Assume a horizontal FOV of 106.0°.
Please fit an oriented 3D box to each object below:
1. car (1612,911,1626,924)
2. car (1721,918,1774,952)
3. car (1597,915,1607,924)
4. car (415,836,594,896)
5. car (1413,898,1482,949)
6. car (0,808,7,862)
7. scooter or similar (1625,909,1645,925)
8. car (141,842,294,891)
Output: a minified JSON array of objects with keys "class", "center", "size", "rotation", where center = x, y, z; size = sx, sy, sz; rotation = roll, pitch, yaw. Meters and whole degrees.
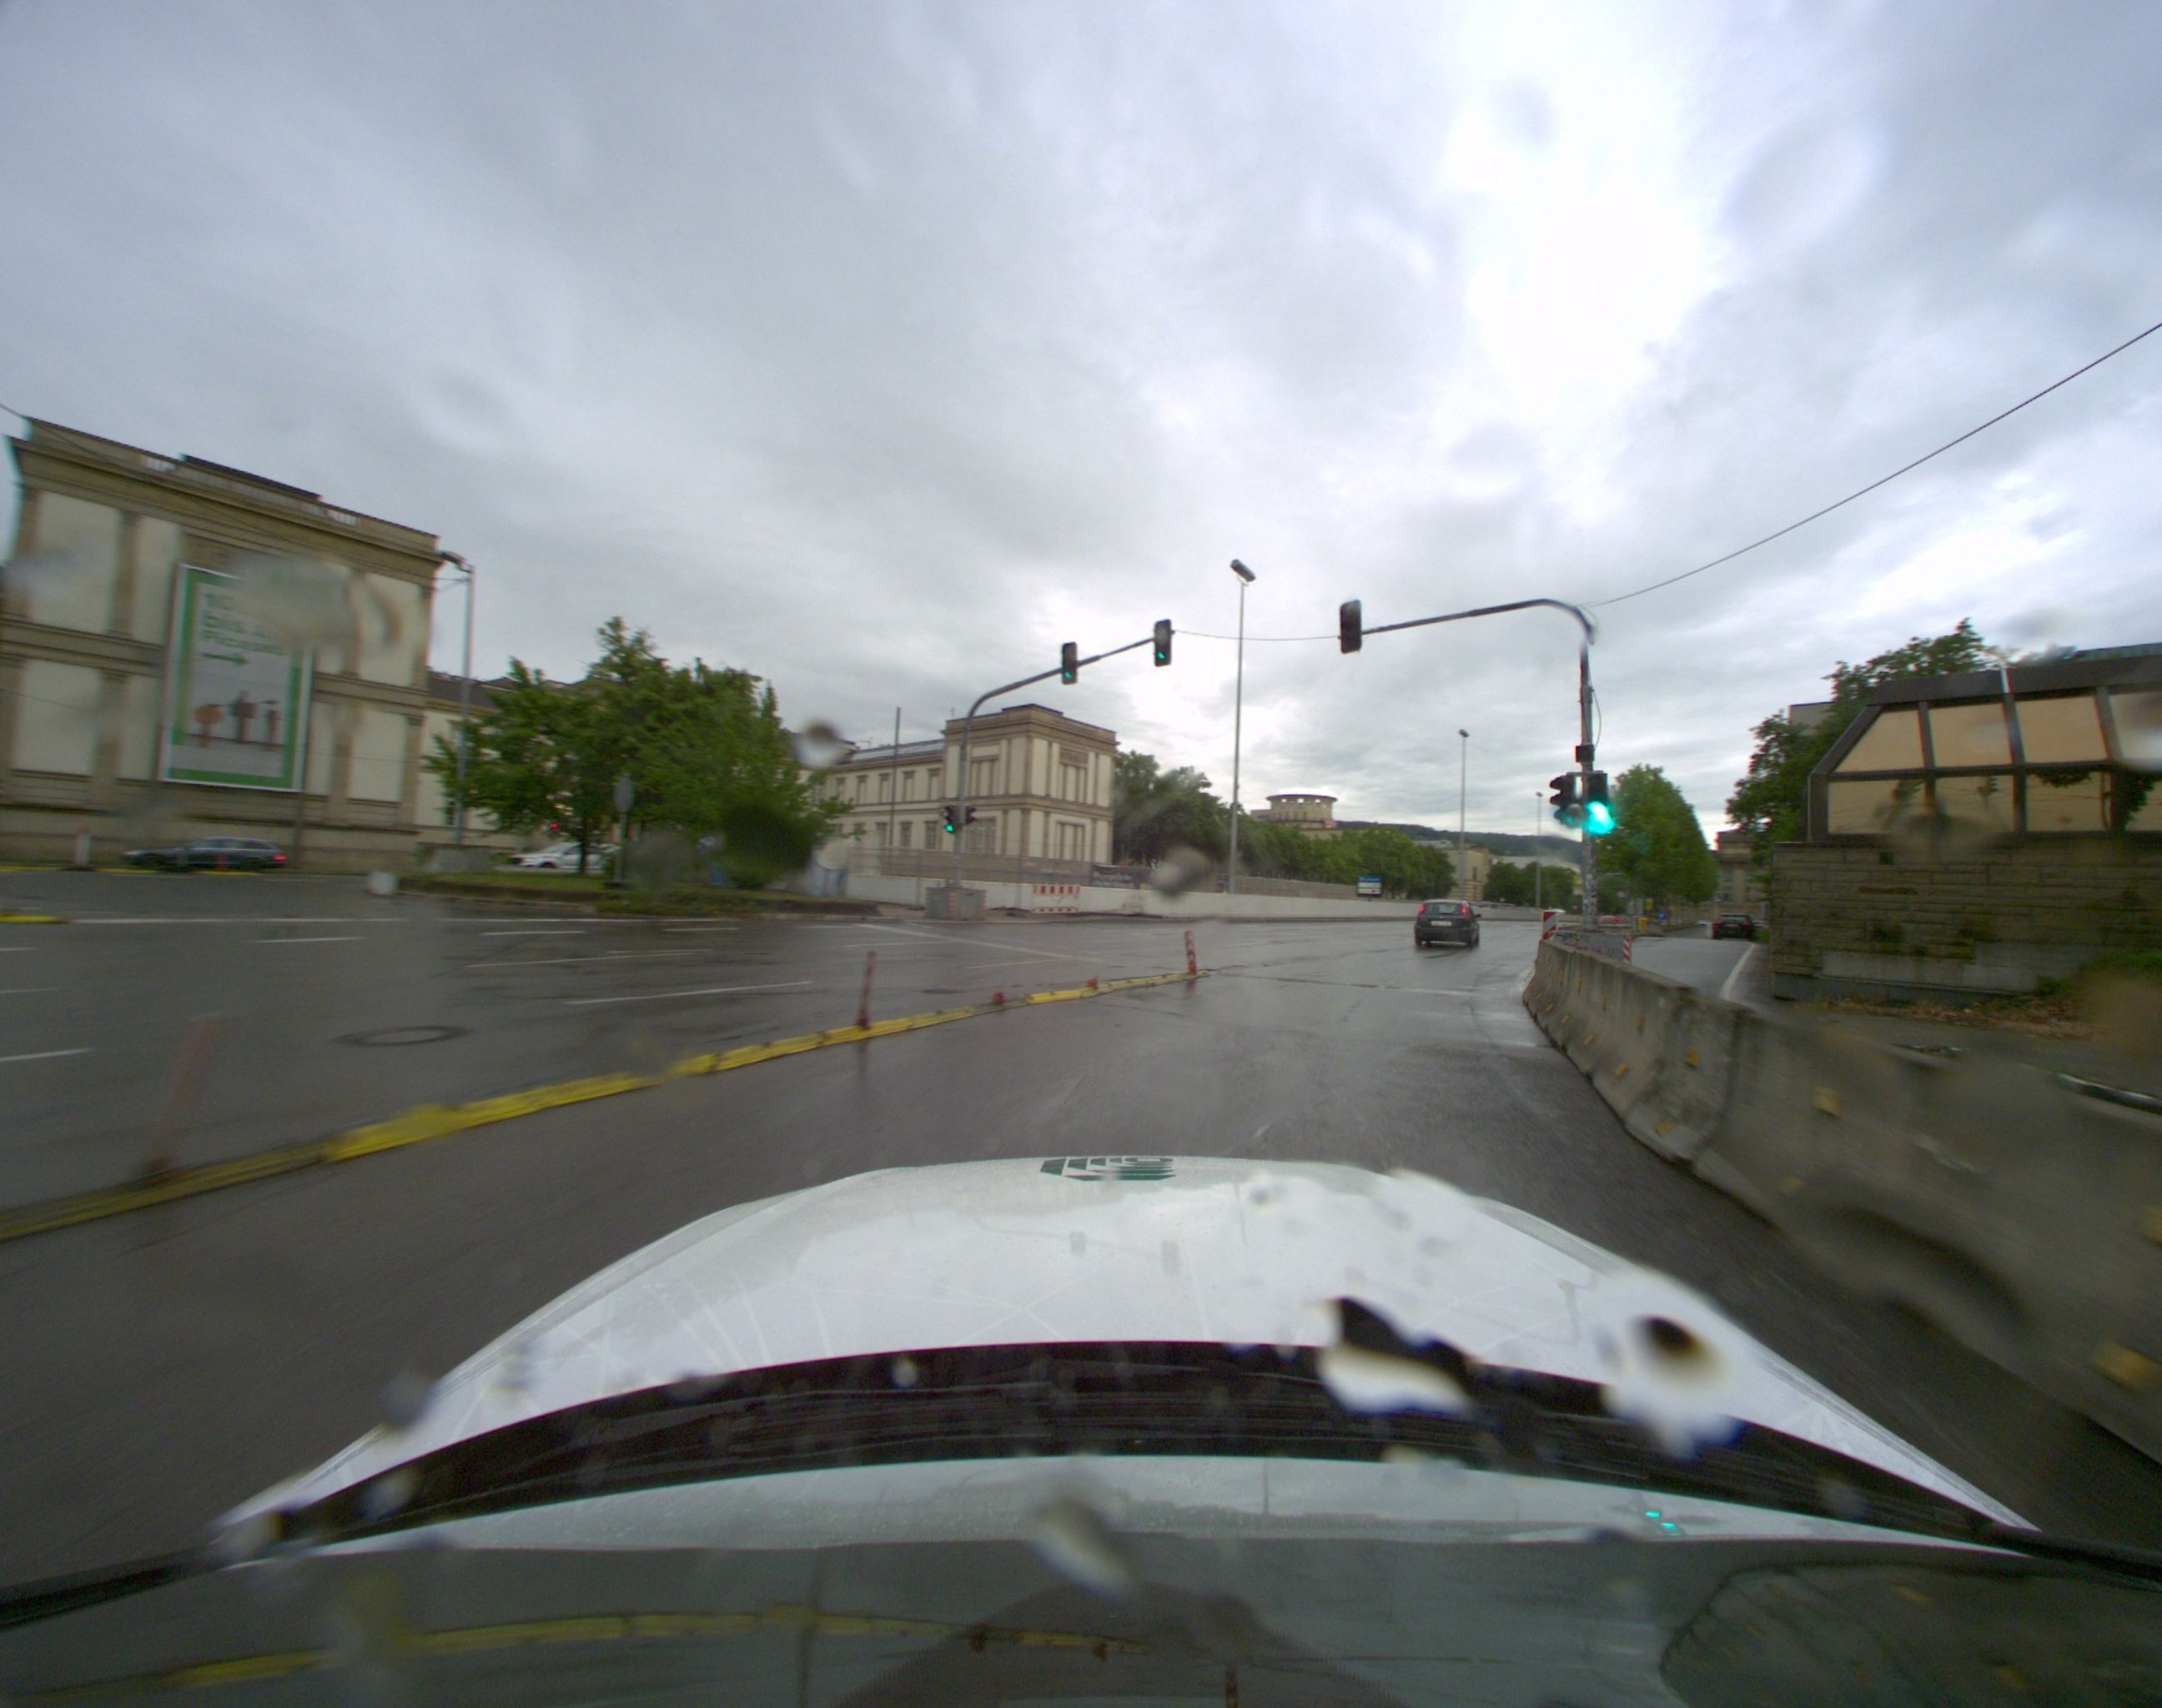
[{"class":"car","center":[94.446,11.170,142.993],"size":[1.975,2.014,4.023],"rotation":[3,-3,34]},{"class":"car","center":[37.117,4.491,45.324],"size":[1.787,1.552,4.351],"rotation":[-13,-11,42]},{"class":"car","center":[83.614,10.460,130.707],"size":[1.372,1.387,3.085],"rotation":[0,-4,34]},{"class":"car","center":[-24.582,0.596,35.058],"size":[2.342,2.174,5.713],"rotation":[4,-2,26]},{"class":"car","center":[11.509,2.127,25.482],"size":[1.654,1.428,3.779],"rotation":[-1,-4,29]},{"class":"car","center":[-31.478,-0.440,20.806],"size":[1.975,2.014,4.718],"rotation":[3,-2,38]},{"class":"scooter or similar","center":[47.614,5.424,69.965],"size":[1.343,1.286,0.623],"rotation":[3,-4,40]},{"class":"car","center":[-36.443,0.556,34.493],"size":[1.800,1.701,4.218],"rotation":[3,-3,42]}]
